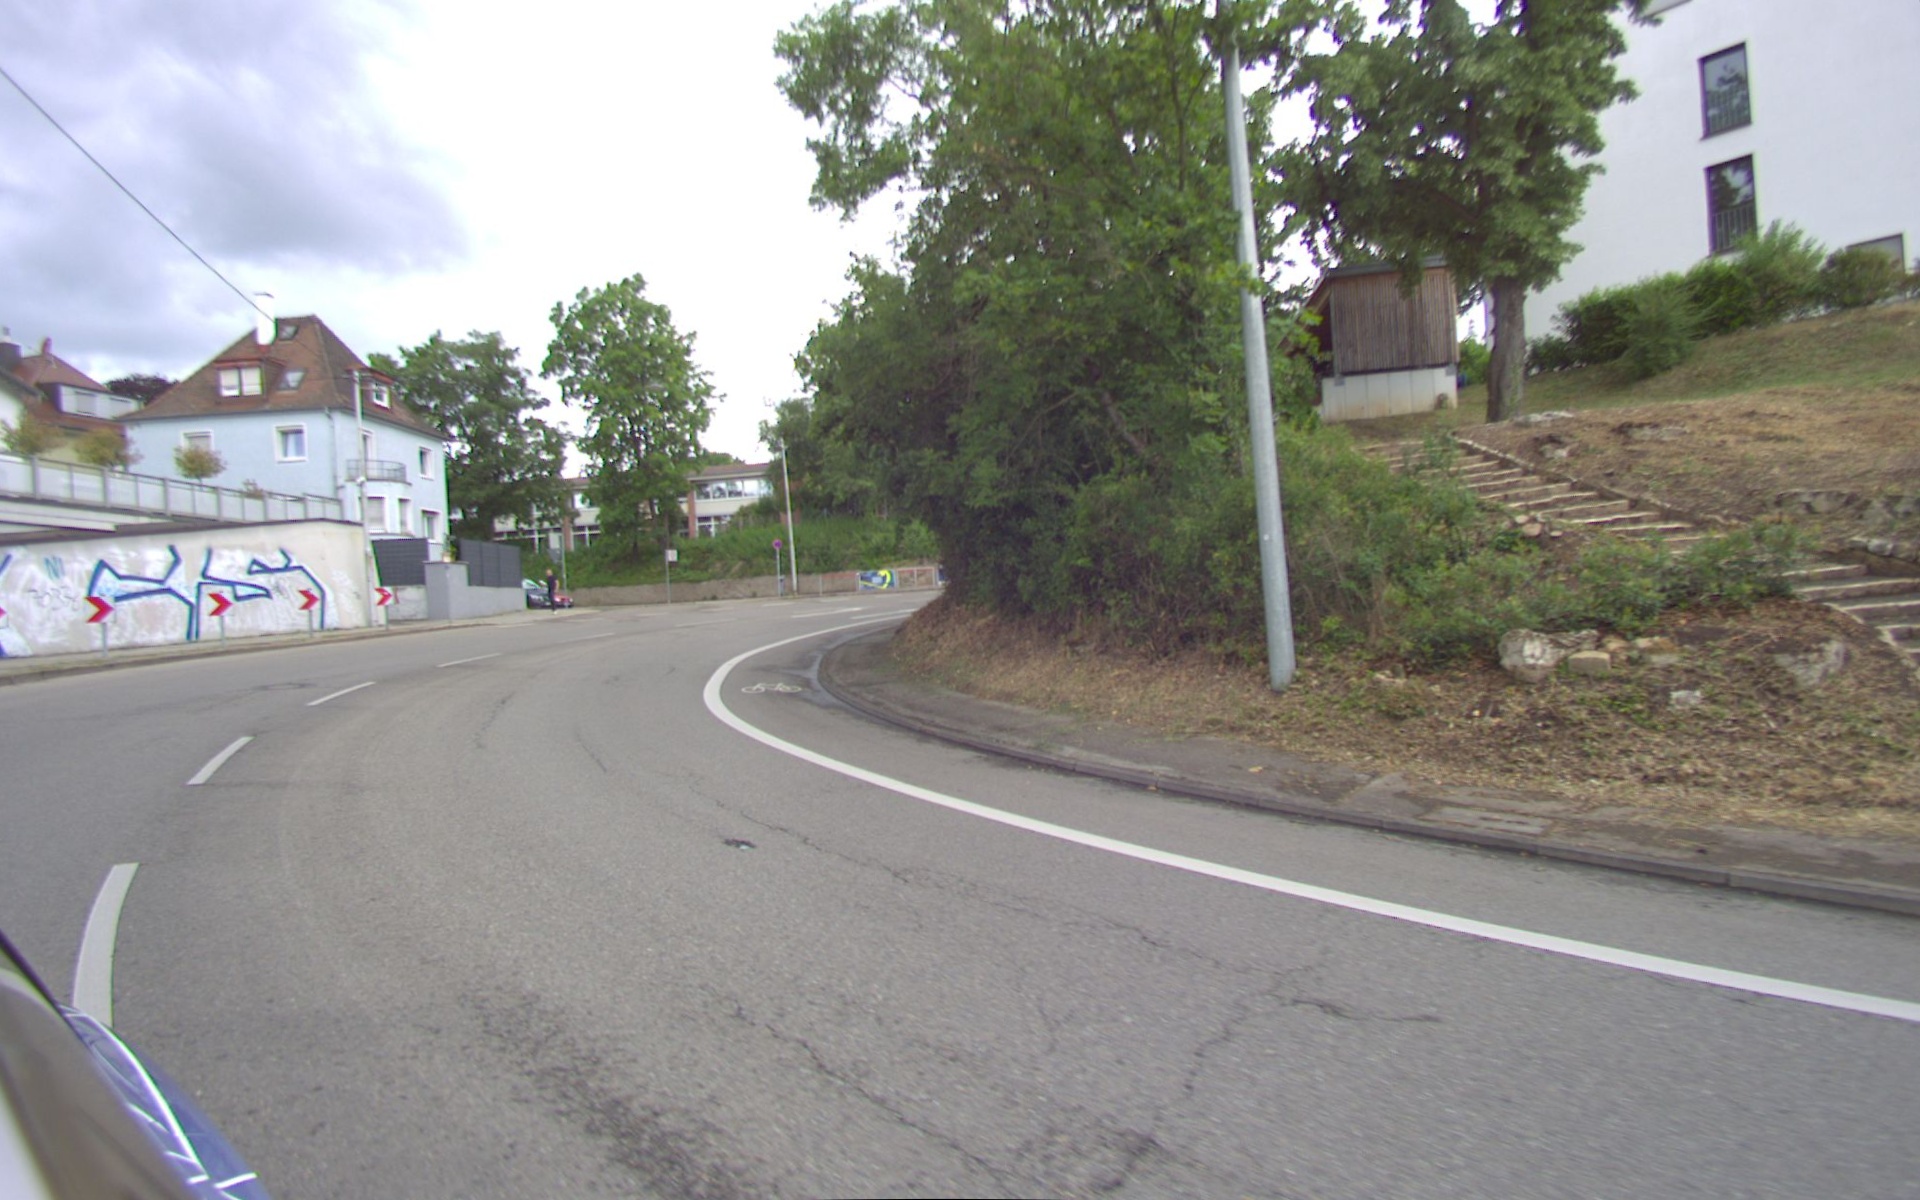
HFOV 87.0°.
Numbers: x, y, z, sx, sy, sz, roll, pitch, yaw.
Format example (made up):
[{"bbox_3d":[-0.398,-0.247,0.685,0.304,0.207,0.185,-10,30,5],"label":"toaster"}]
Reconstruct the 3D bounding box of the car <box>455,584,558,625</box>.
[{"bbox_3d":[-23.544,0.247,52.599,4.800,1.878,1.940,-3,0,18],"label":"car"}]

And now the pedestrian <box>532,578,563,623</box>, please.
[{"bbox_3d":[-17.104,0.019,41.956,0.575,1.842,0.970,-2,1,44],"label":"pedestrian"}]

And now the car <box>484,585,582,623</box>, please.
[{"bbox_3d":[-23.612,0.224,56.039,4.796,1.878,1.941,-3,0,16],"label":"car"}]
